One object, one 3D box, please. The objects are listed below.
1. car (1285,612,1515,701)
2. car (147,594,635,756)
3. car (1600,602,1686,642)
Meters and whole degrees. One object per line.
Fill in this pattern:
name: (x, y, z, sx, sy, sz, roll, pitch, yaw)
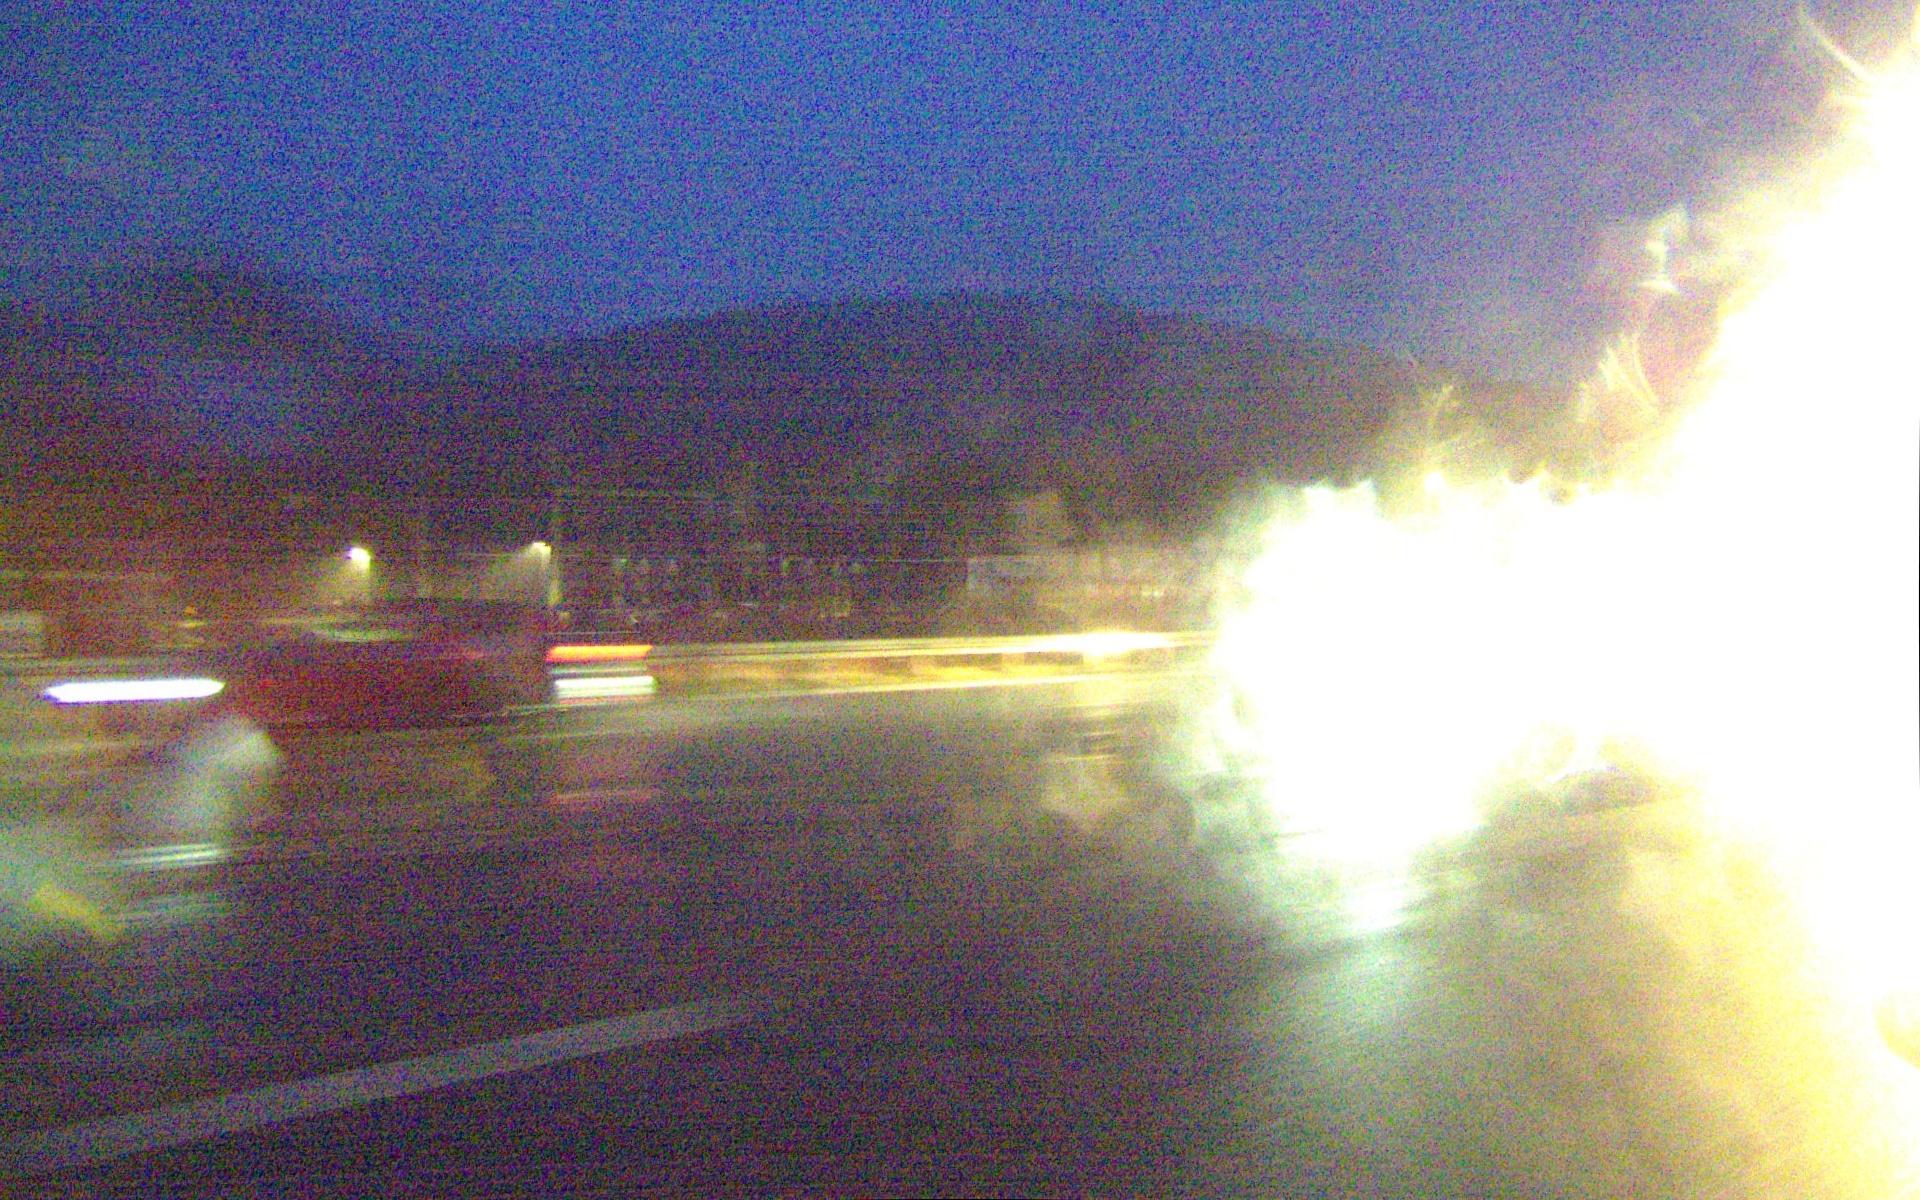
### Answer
car: (8.608, 1.006, 19.559, 4.507, 1.528, 1.982, 0, 0, -33)
car: (-5.855, 0.701, 10.727, 4.206, 1.416, 1.864, 1, -1, -34)
car: (36.539, 1.140, 53.864, 1.960, 2.040, 4.000, 1, 0, 1)
